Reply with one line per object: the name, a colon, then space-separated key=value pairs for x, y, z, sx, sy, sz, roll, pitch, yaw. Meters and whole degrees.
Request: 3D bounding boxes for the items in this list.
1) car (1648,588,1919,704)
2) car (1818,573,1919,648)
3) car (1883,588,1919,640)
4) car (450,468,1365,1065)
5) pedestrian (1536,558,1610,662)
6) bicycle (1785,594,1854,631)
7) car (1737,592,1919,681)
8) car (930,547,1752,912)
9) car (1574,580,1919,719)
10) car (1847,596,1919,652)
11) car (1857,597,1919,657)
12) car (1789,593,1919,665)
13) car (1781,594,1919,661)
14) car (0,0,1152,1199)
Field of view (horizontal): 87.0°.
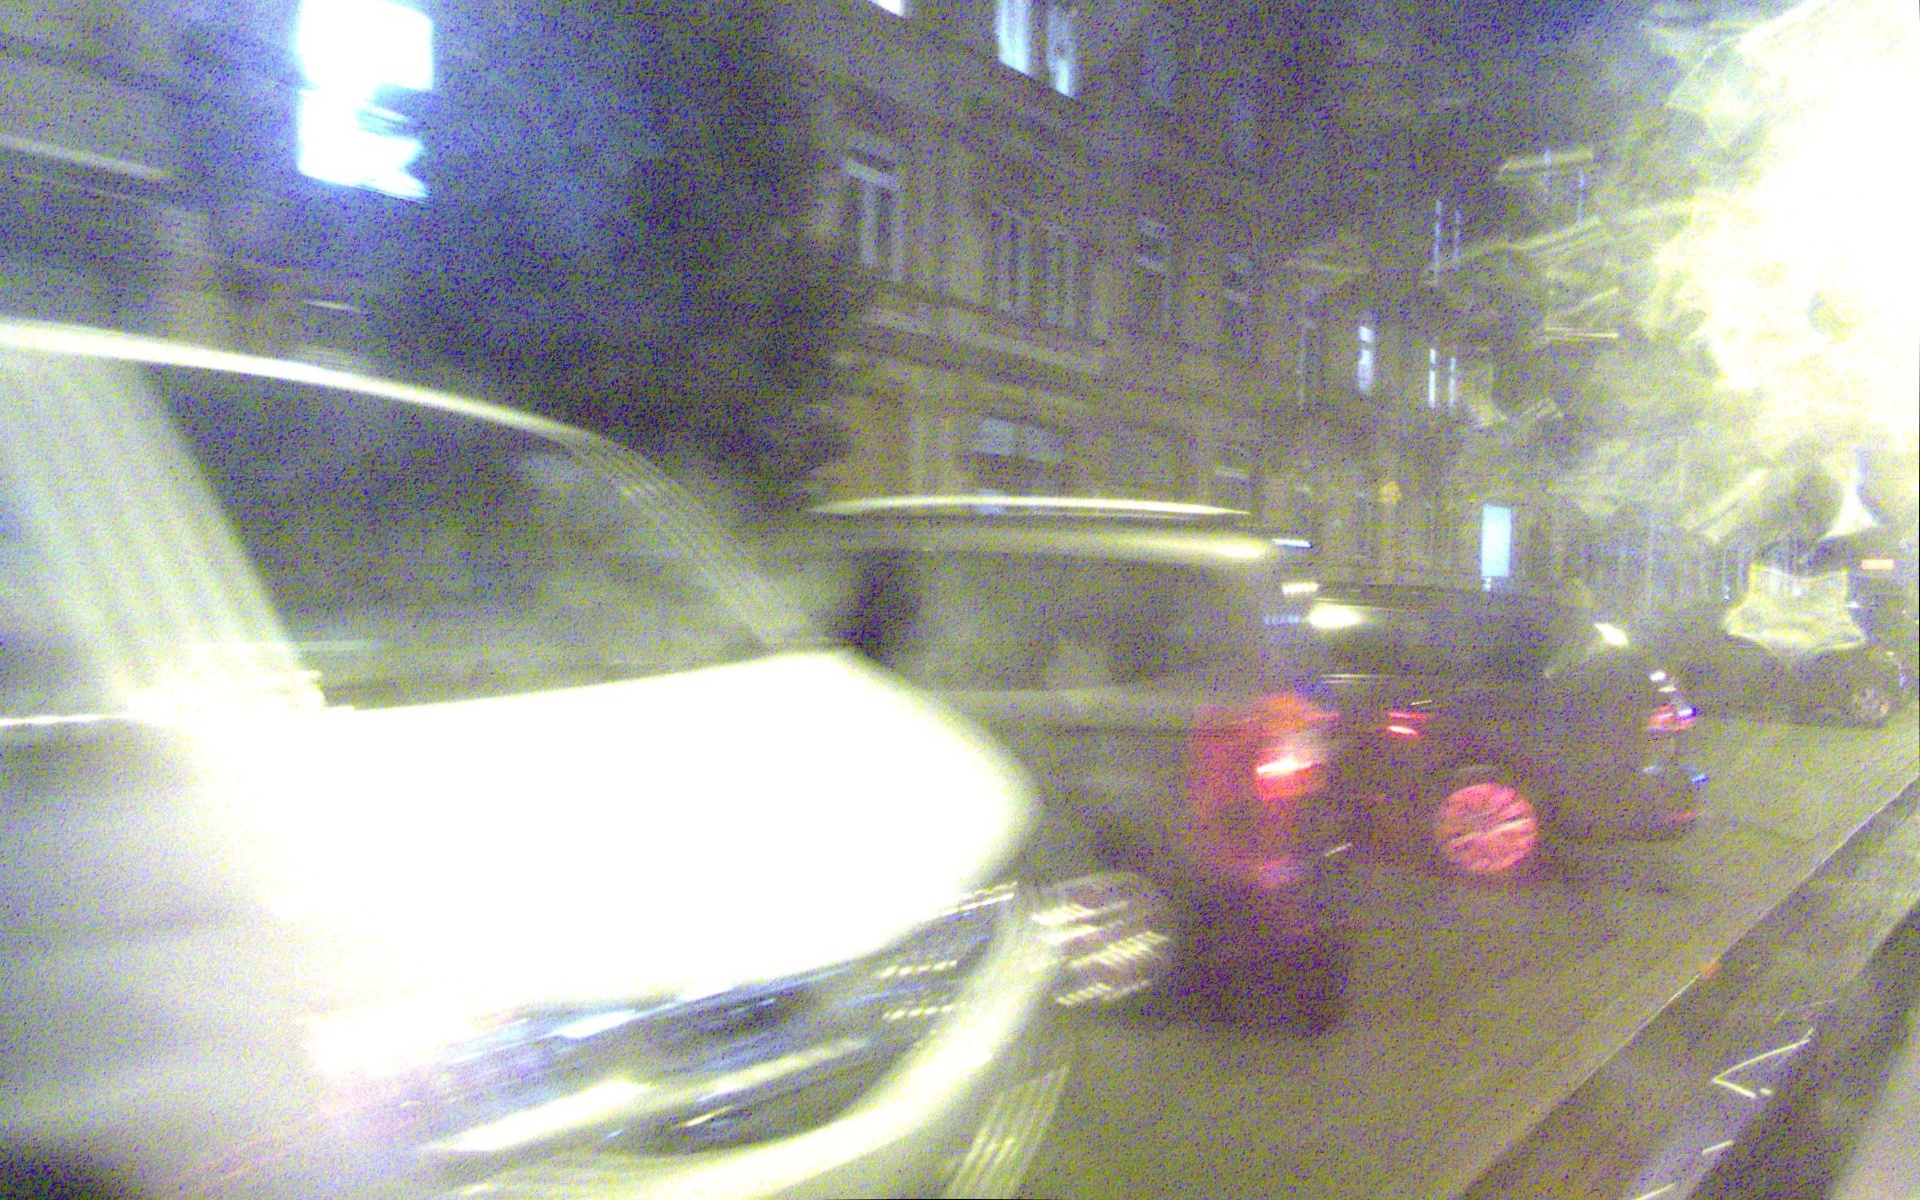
car: x=12.945 y=0.656 z=15.503 sx=3.595 sy=1.600 sz=1.588 roll=1 pitch=1 yaw=11
car: x=30.712 y=0.364 z=32.248 sx=4.655 sy=2.275 sz=1.939 roll=2 pitch=2 yaw=14
car: x=37.699 y=0.639 z=37.881 sx=4.186 sy=1.881 sz=1.710 roll=3 pitch=3 yaw=14
car: x=-0.211 y=0.394 z=4.396 sx=3.523 sy=1.732 sz=1.635 roll=4 pitch=3 yaw=21
pedestrian: x=11.566 y=0.172 z=19.090 sx=0.976 sy=1.878 sz=0.870 roll=1 pitch=3 yaw=-43
bicycle: x=35.518 y=0.490 z=41.844 sx=0.767 sy=1.351 sz=1.980 roll=1 pitch=4 yaw=-34
car: x=17.254 y=0.692 z=19.136 sx=3.631 sy=1.478 sz=1.597 roll=3 pitch=2 yaw=15
car: x=1.983 y=0.535 z=6.106 sx=3.950 sy=1.511 sz=1.724 roll=4 pitch=3 yaw=19
car: x=10.609 y=0.591 z=13.655 sx=3.602 sy=1.600 sz=1.585 roll=2 pitch=1 yaw=16
car: x=29.094 y=0.745 z=30.313 sx=3.350 sy=1.561 sz=1.571 roll=2 pitch=2 yaw=14
car: x=27.227 y=0.788 z=27.681 sx=3.608 sy=1.561 sz=1.550 roll=3 pitch=2 yaw=20
car: x=22.962 y=0.724 z=24.533 sx=3.943 sy=1.571 sz=1.797 roll=2 pitch=2 yaw=15
car: x=24.442 y=0.716 z=26.560 sx=3.939 sy=1.571 sz=1.993 roll=2 pitch=2 yaw=12
car: x=-2.037 y=0.282 z=2.687 sx=4.739 sy=2.074 sz=2.054 roll=2 pitch=0 yaw=19
